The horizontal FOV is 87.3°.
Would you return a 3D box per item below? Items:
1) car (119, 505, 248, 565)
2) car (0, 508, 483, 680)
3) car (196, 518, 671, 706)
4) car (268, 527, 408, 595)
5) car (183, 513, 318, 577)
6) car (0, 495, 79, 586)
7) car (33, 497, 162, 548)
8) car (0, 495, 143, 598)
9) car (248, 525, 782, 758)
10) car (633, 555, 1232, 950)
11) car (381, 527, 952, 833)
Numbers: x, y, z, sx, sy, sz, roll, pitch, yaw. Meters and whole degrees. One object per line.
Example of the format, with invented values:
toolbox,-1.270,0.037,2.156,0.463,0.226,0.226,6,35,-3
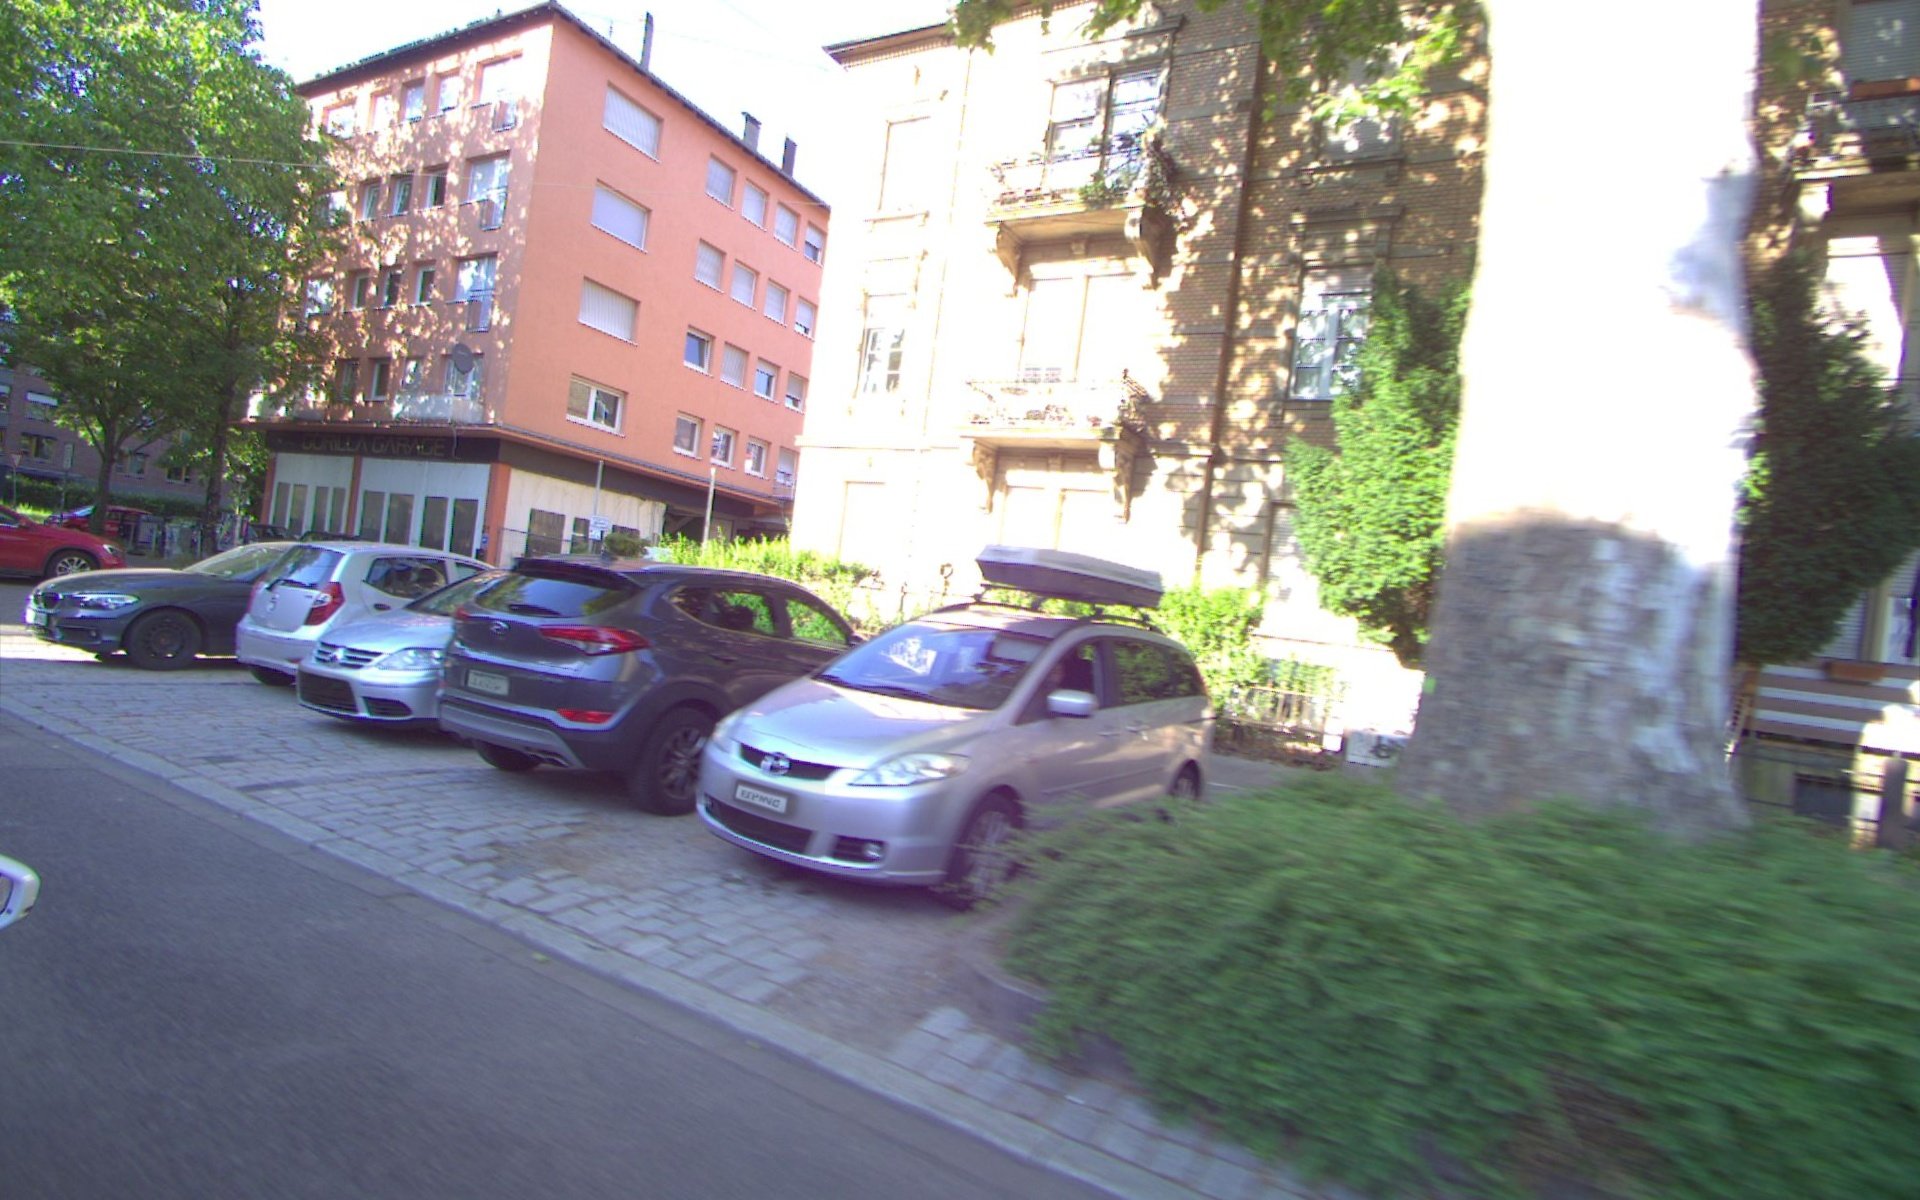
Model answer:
car,-28.182,-2.351,36.482,4.496,1.594,1.793,7,0,26
car,-8.029,0.047,11.589,1.787,1.465,4.207,7,-1,31
car,-5.514,0.243,11.106,1.788,1.574,4.204,7,-1,33
car,-17.715,-1.130,28.613,3.884,1.452,1.751,7,0,32
car,-21.969,-1.719,31.096,4.393,1.452,1.751,7,0,32
car,-19.059,-1.324,18.171,1.790,1.561,4.402,7,-1,38
car,-34.985,-3.122,40.907,1.655,1.470,3.544,7,-1,29
car,-17.060,-1.091,17.159,1.920,1.561,4.408,7,-1,33
car,-3.863,0.440,9.492,1.788,1.593,4.204,7,-1,33
car,0.189,0.834,6.726,1.788,1.638,4.204,7,-1,33
car,-1.961,0.590,8.084,1.846,1.638,4.209,7,-1,28
